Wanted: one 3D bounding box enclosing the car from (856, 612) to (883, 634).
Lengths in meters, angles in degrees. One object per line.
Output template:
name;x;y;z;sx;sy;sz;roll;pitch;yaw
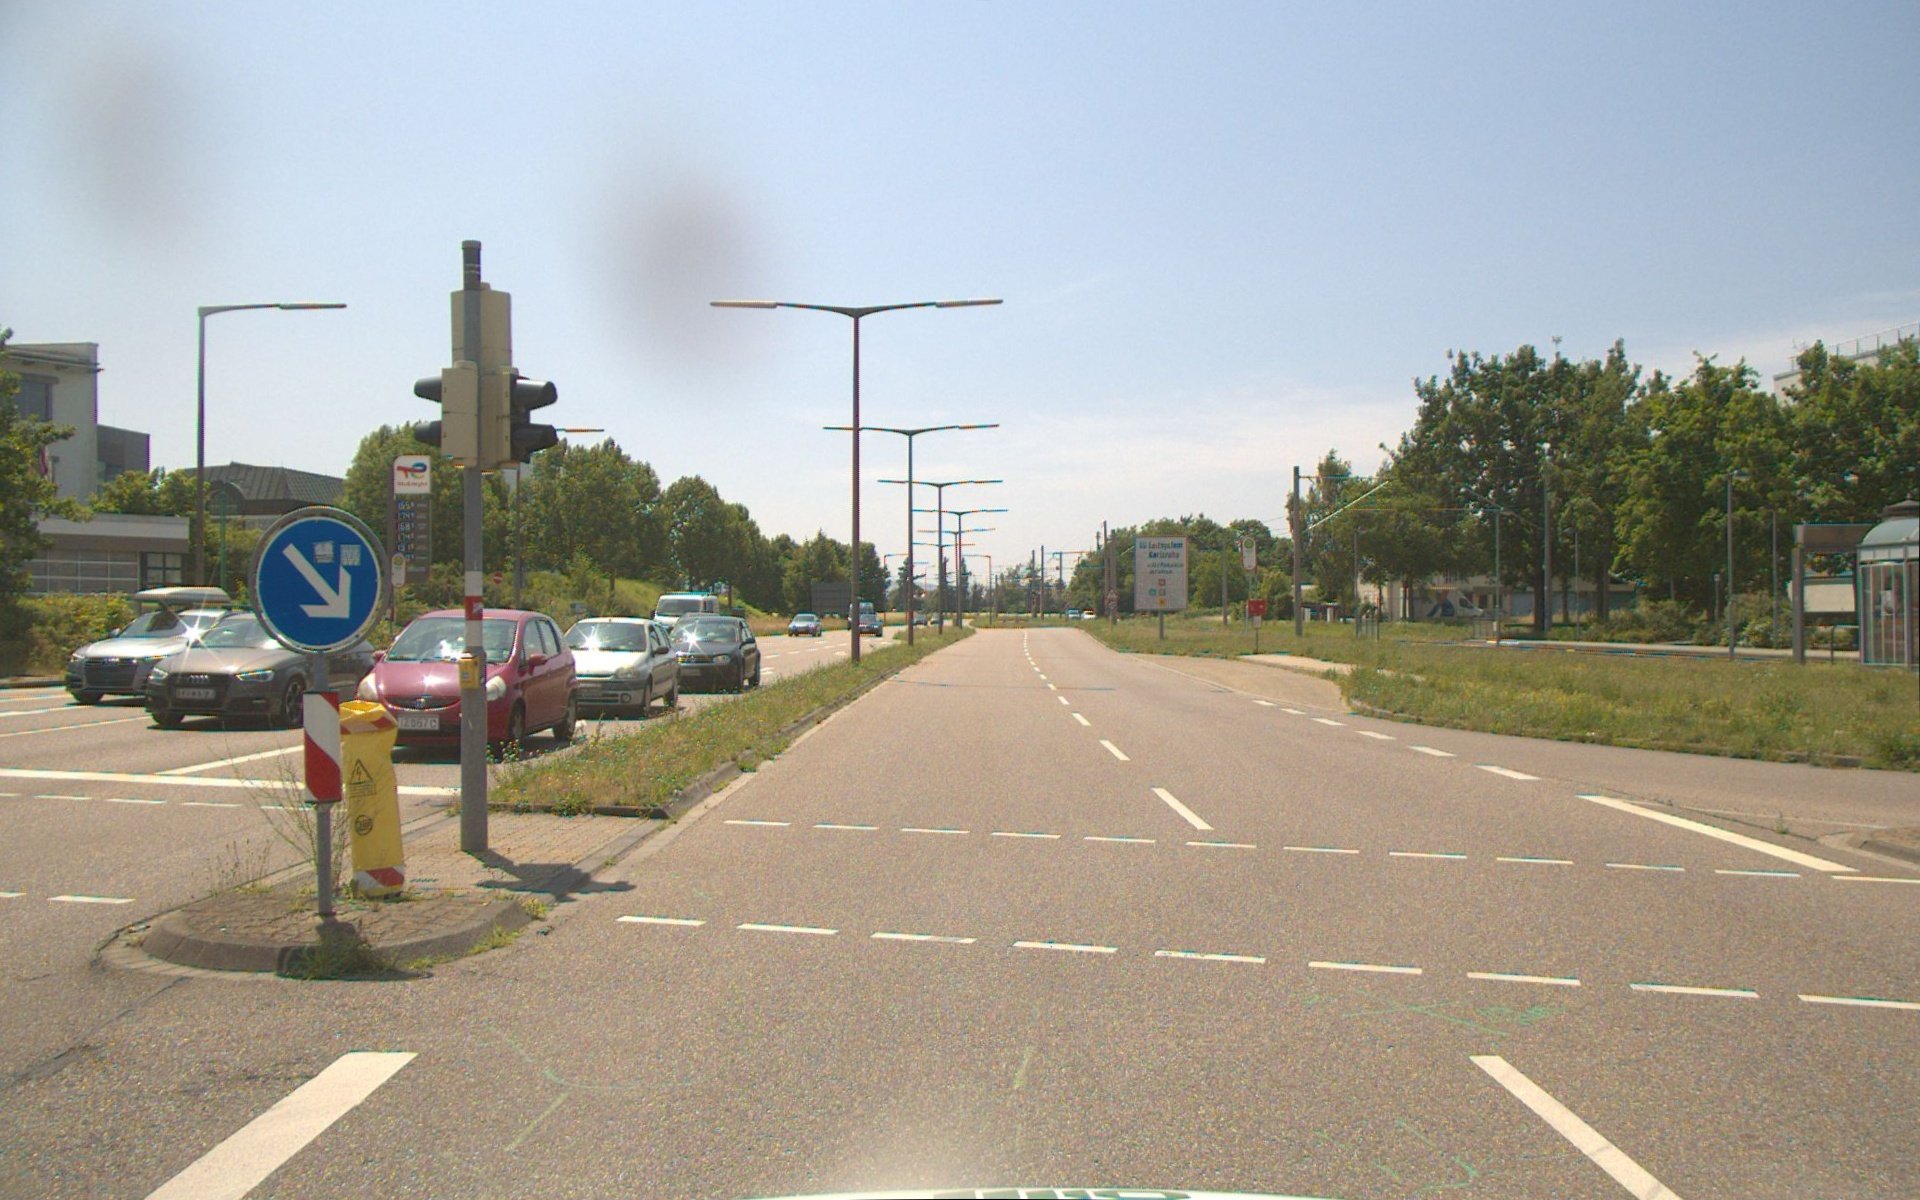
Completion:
car;-6.139;1.567;112.860;1.696;1.483;4.563;0;0;-1

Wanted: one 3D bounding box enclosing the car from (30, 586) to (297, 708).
car;-12.638;0.705;26.665;1.925;1.781;5.021;0;0;-1

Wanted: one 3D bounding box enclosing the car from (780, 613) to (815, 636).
car;-10.718;1.603;109.379;1.793;1.474;4.851;0;0;0

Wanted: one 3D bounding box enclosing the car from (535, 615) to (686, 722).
car;-5.235;0.984;25.182;1.529;1.448;3.853;1;0;-1

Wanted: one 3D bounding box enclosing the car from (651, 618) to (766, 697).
car;-4.931;1.093;32.874;1.641;1.459;4.190;1;-1;0

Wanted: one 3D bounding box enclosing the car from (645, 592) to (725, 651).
car;-11.294;0.890;68.355;2.203;2.313;5.449;1;-1;1

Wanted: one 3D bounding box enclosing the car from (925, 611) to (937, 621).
car;-4.243;2.336;239.798;1.657;1.518;4.000;-1;0;0

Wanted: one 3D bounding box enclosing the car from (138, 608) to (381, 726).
car;-9.193;0.825;22.069;1.564;1.409;4.002;1;-1;-1

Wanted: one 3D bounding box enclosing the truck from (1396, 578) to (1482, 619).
truck;36.220;-0.105;125.141;5.729;2.893;2.316;-2;-1;-7

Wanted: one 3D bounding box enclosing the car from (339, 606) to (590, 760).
car;-5.328;0.832;18.301;1.624;1.516;3.999;0;-1;-1

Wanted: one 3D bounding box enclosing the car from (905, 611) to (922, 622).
car;-6.423;2.254;227.906;1.952;1.383;4.666;-2;0;2
